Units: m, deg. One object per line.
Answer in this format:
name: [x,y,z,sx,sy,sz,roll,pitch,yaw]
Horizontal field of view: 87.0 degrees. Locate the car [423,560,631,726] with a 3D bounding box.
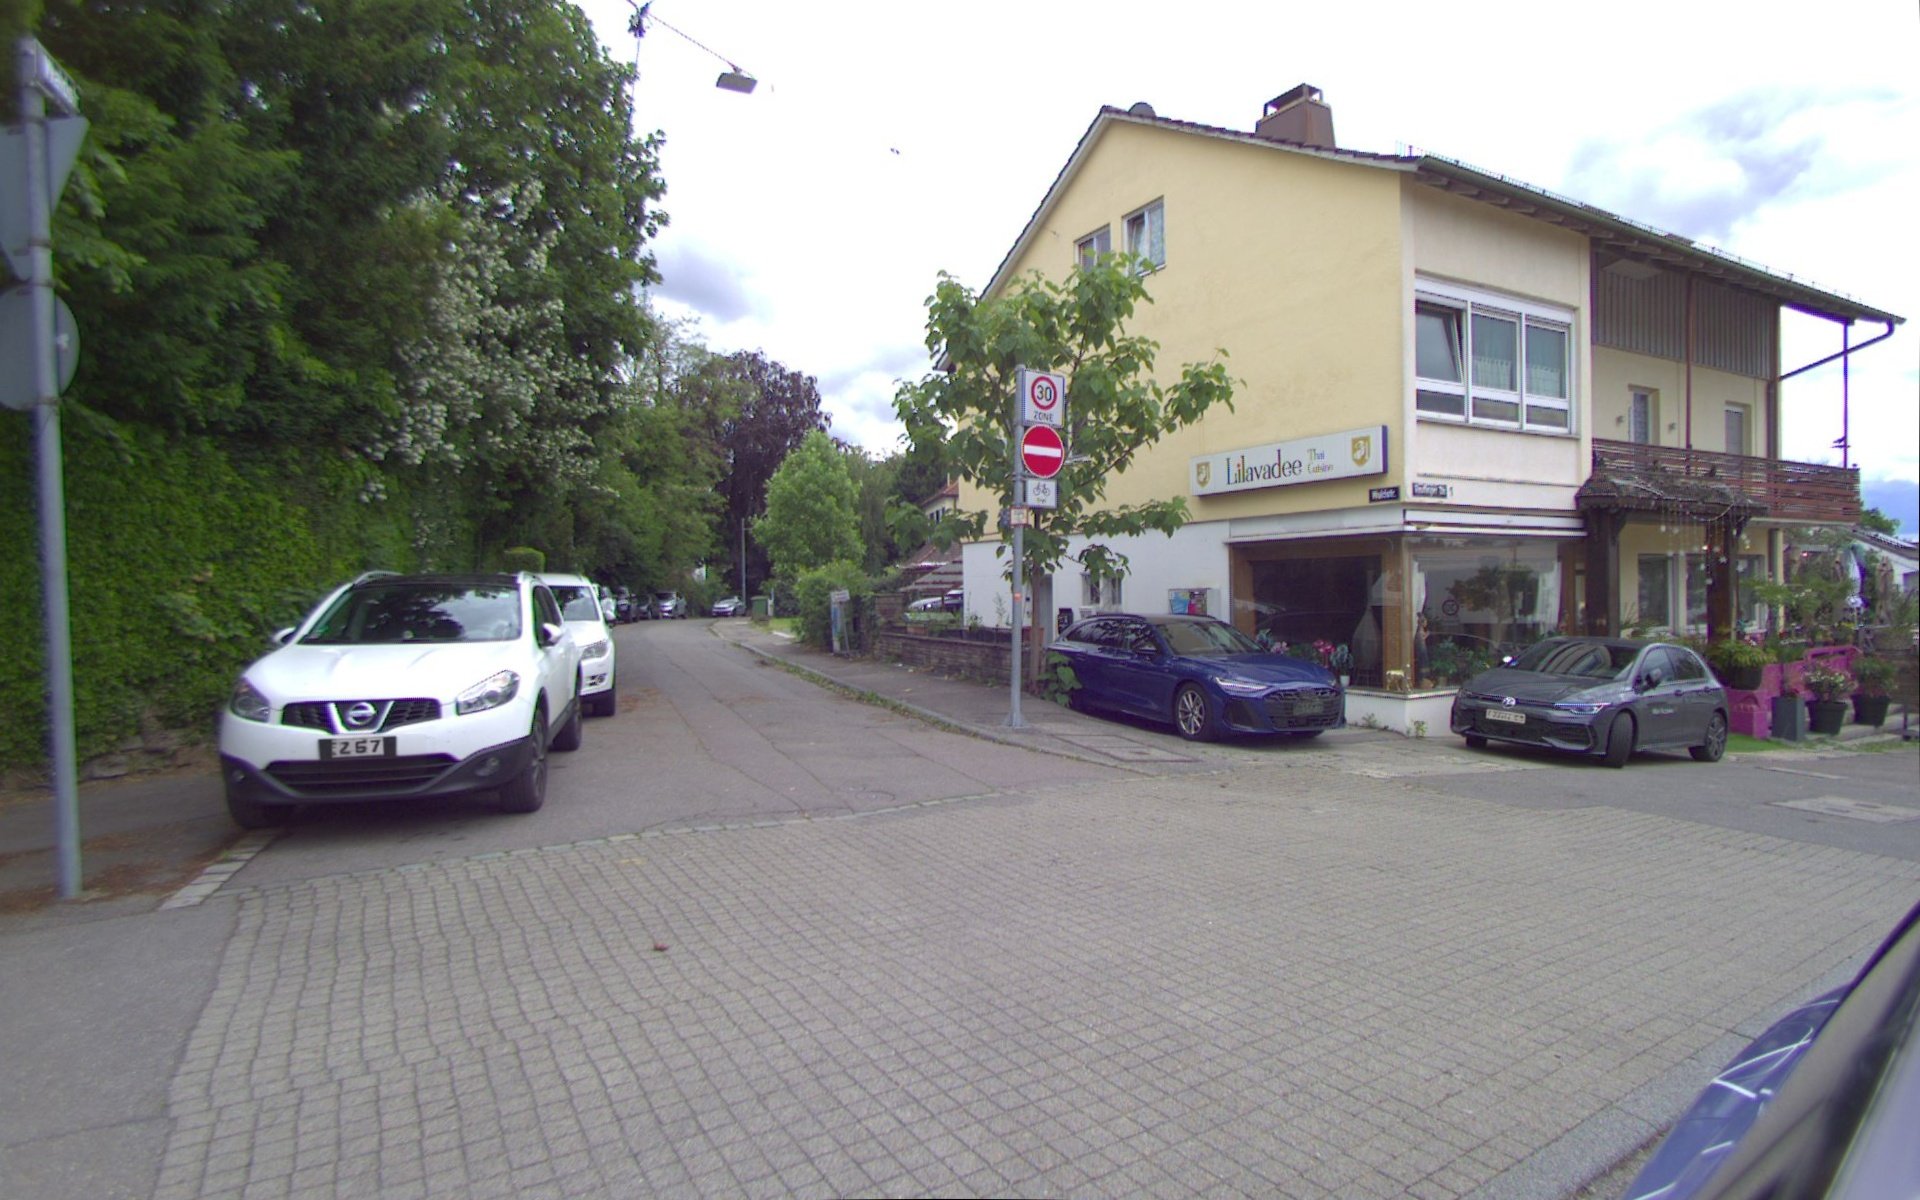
car: [-5.107,0.409,12.458,1.829,1.681,4.076,0,0,-16]

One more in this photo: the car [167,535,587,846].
car: [-3.920,0.458,7.602,1.829,1.660,4.076,1,1,-17]

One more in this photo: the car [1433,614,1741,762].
car: [7.747,1.040,12.411,3.808,1.512,1.875,4,-3,-35]

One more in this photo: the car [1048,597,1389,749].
car: [3.034,0.793,12.879,1.892,1.548,4.236,3,-1,-25]
